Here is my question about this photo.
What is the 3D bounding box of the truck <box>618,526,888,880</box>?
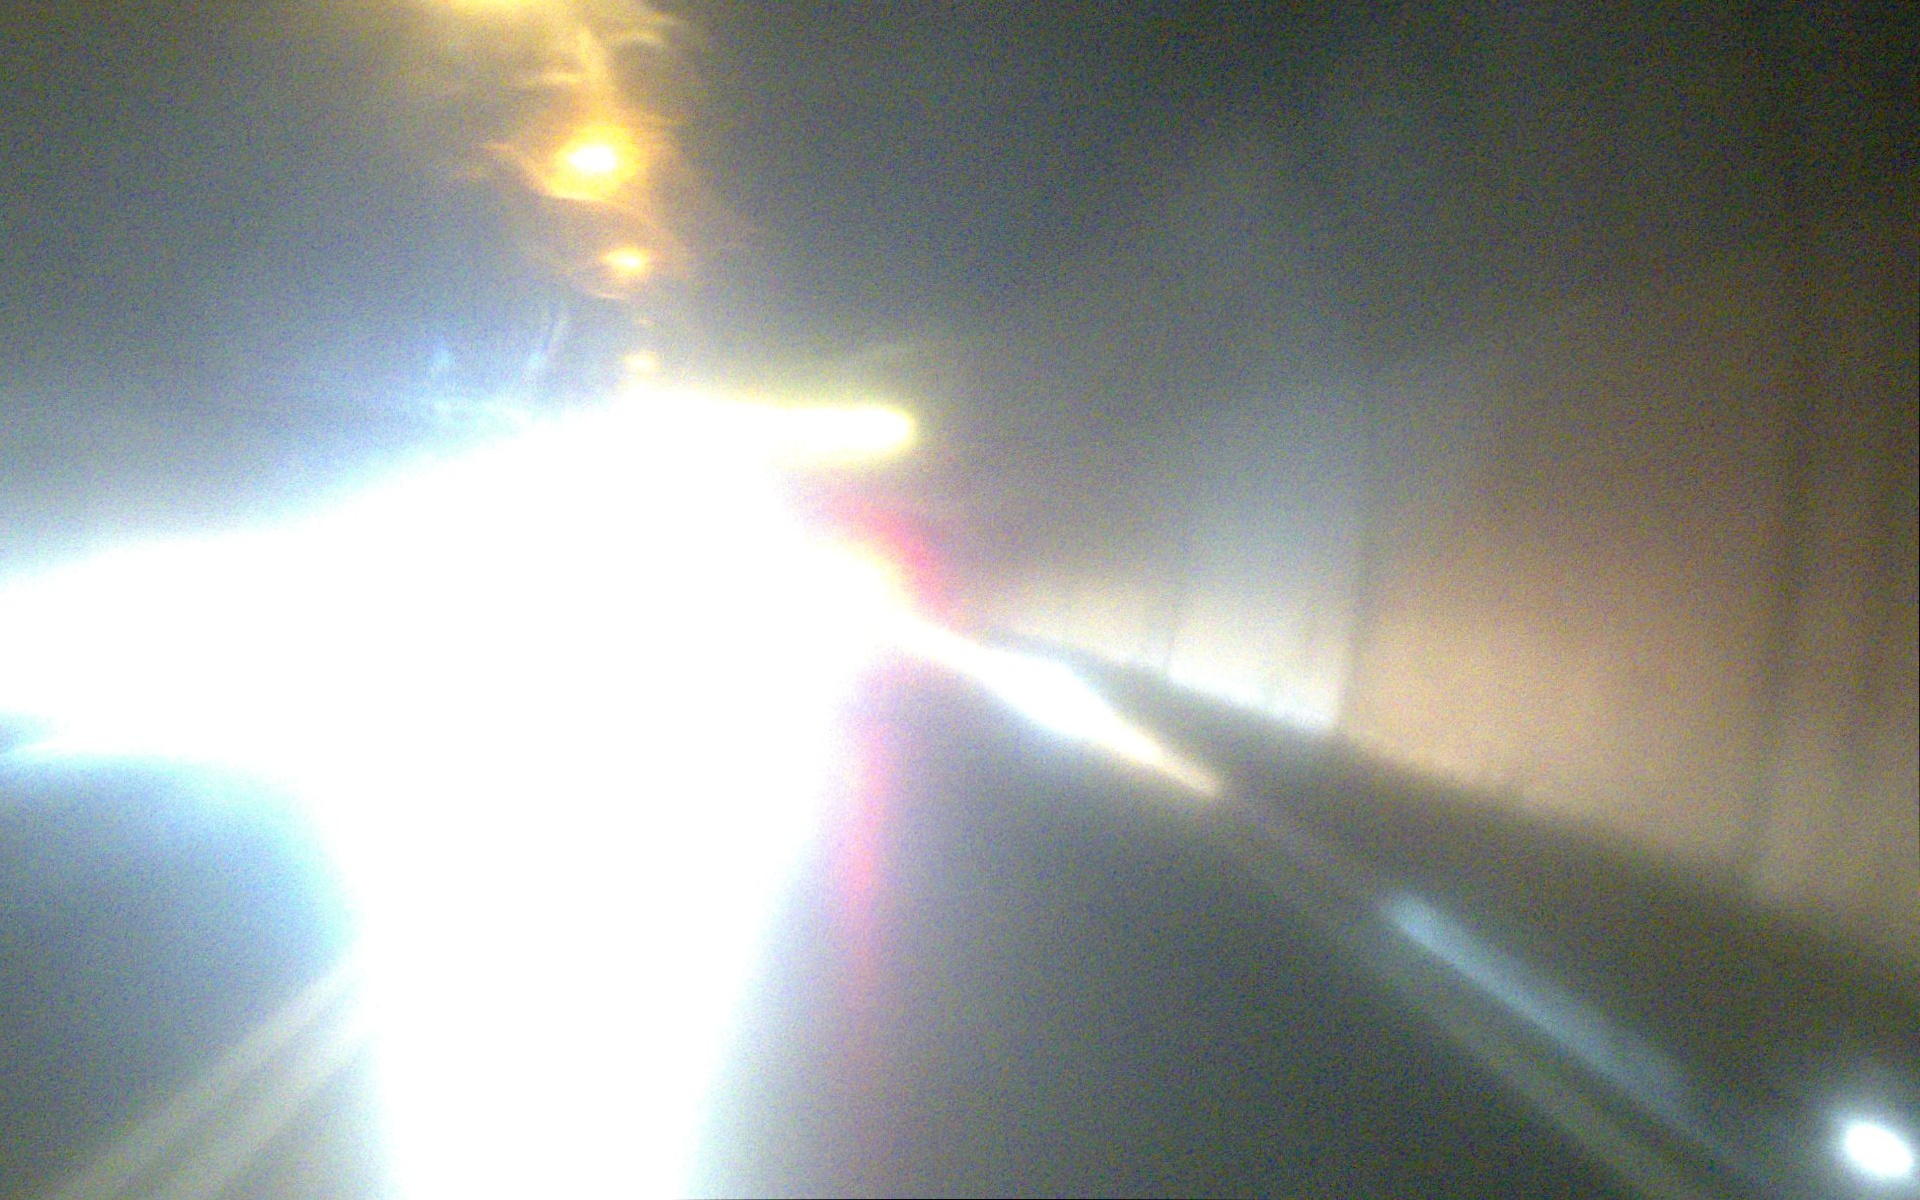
[{"bbox_3d":[-1.955,0.828,33.394,2.262,3.000,7.416,1,1,-3],"label":"truck"}]

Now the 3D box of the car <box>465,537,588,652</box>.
[{"bbox_3d":[-6.042,-0.110,48.069,1.620,1.512,4.138,-1,1,-7],"label":"car"}]
